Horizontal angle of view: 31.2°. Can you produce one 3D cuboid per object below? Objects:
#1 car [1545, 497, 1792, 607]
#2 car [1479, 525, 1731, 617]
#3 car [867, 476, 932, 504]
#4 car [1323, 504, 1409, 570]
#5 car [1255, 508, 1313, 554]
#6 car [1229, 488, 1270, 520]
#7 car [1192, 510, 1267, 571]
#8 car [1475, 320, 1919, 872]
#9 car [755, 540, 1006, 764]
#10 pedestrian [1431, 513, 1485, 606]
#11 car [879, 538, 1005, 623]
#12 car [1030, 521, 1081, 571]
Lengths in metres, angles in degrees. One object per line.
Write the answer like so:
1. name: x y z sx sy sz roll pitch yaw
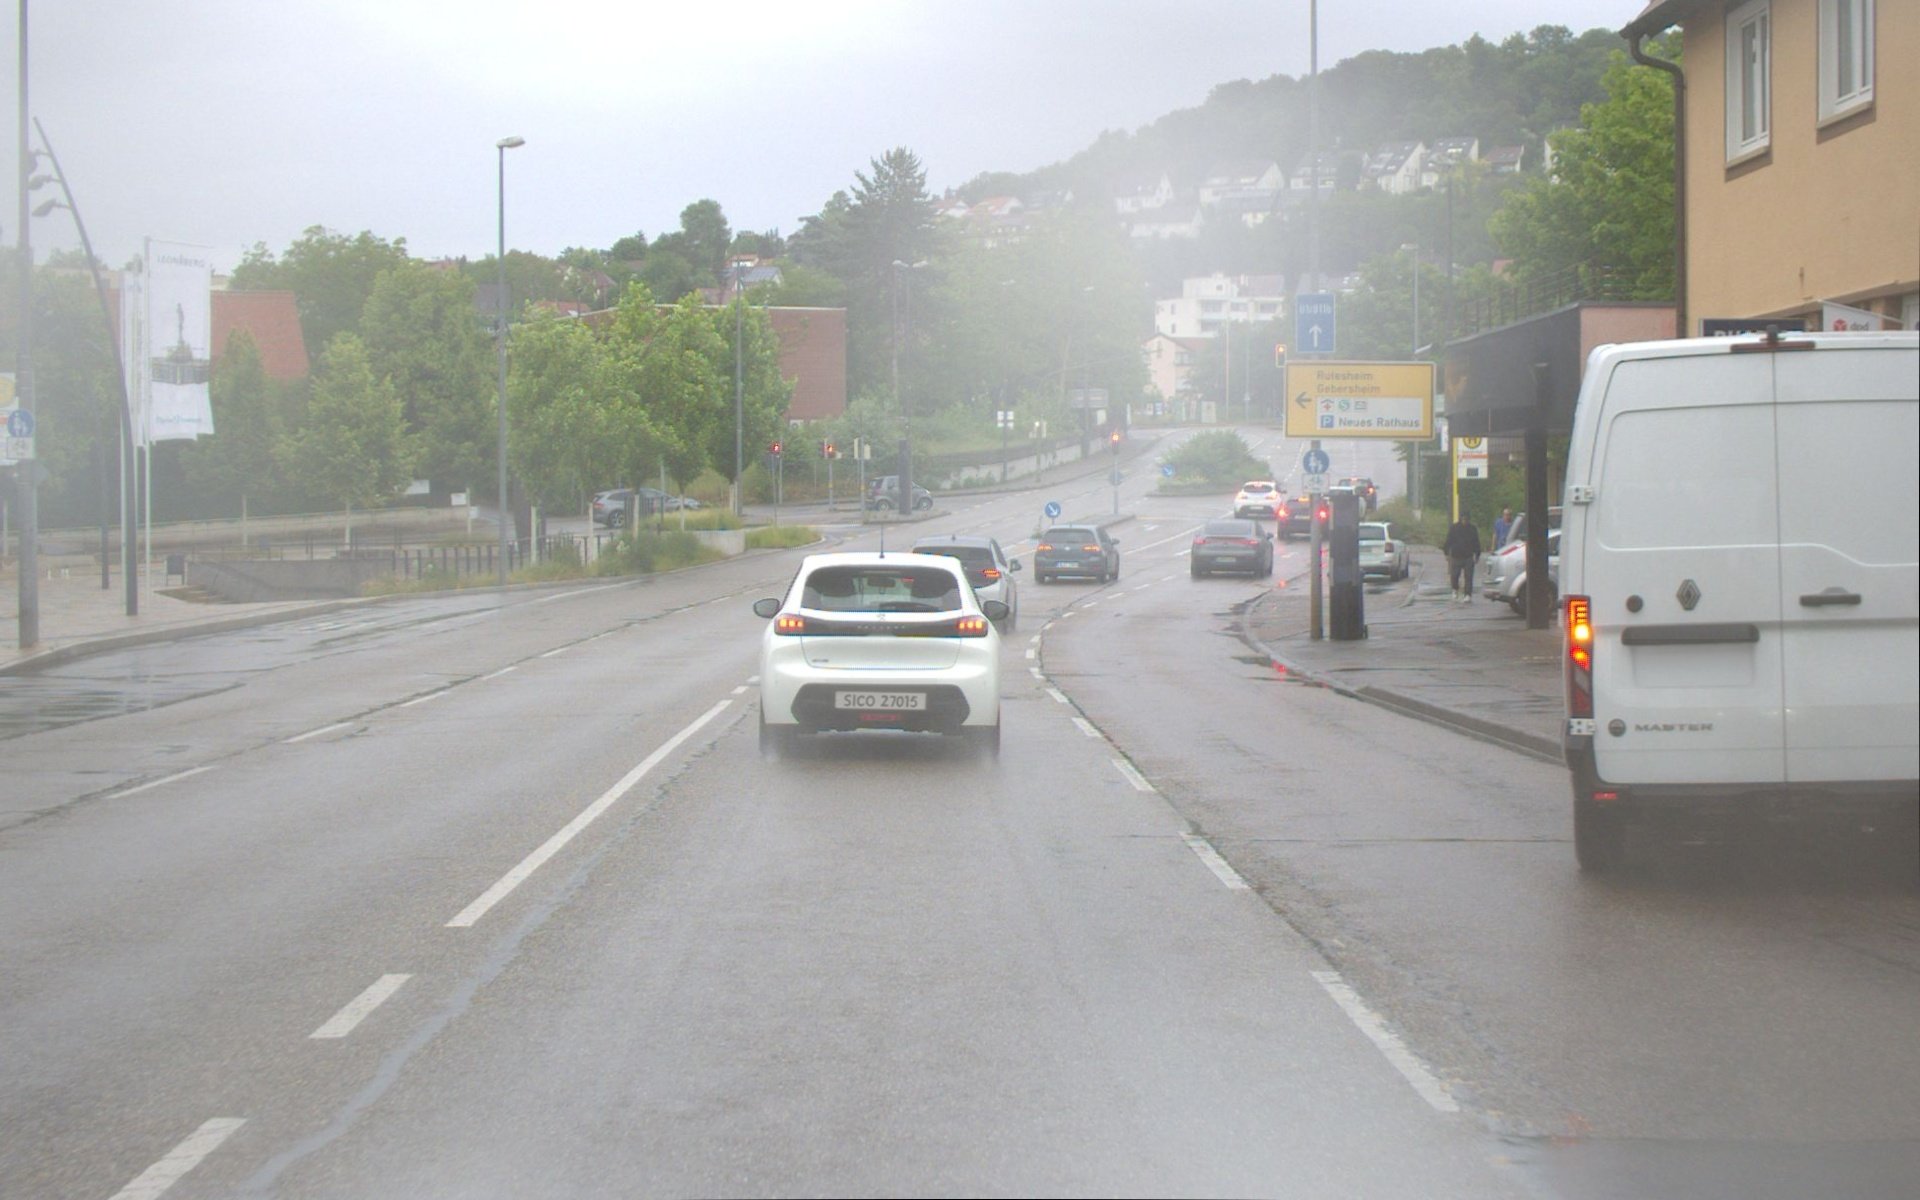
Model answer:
1. car: 12.611 -0.871 61.400 4.095 1.864 1.876 -1 1 5
2. car: 10.807 -0.489 57.768 3.987 1.442 1.746 -1 1 5
3. car: -2.564 -4.652 145.552 2.418 1.153 1.371 -1 0 -27
4. car: 10.155 -1.590 85.701 1.731 1.492 4.478 -1 2 12
5. car: 11.311 -2.410 120.217 1.647 1.480 3.366 -1 0 -1
6. car: 11.279 -3.741 133.951 1.385 1.123 2.610 -1 0 1
7. car: 7.038 -1.581 89.996 1.734 1.383 3.353 1 4 1
8. car: 4.257 0.001 18.178 2.292 2.374 6.620 -1 0 15
9. car: -0.589 0.373 25.354 1.691 1.514 3.933 0 -1 -1
10. pedestrian: 9.889 -0.801 68.327 0.708 1.815 0.797 -1 -1 -26
11. car: -0.259 -0.321 54.992 1.741 1.291 3.333 -1 1 4
12. car: 2.352 -1.315 84.482 1.213 1.152 2.270 -1 0 2
